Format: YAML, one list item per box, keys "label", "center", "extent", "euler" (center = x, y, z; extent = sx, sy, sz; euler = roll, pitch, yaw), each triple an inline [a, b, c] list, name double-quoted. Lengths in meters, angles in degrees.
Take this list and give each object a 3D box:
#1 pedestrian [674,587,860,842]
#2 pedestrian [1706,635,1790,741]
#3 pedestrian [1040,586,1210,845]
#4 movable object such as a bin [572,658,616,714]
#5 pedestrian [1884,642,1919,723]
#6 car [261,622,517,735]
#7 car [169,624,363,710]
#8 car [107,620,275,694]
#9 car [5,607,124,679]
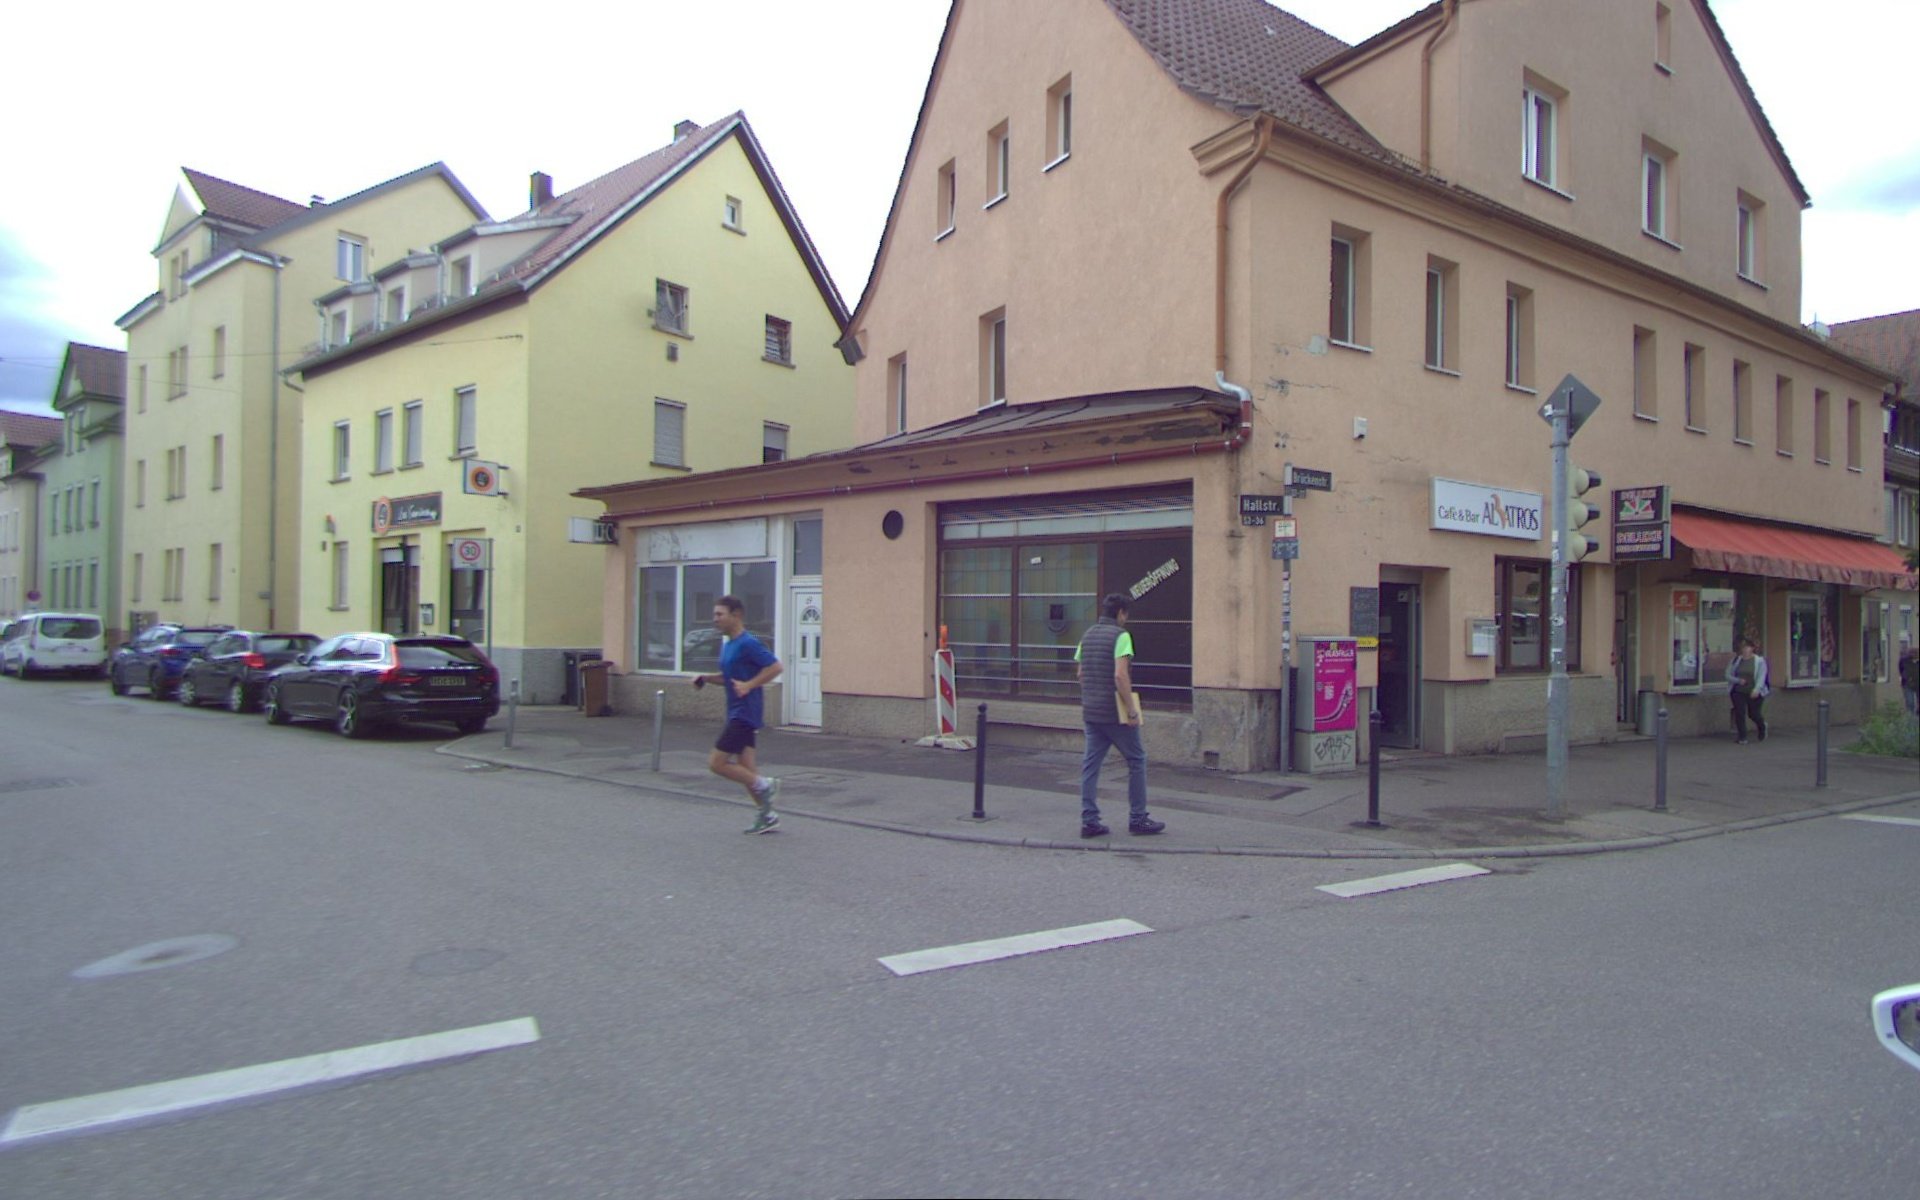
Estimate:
- label: "pedestrian"
  center: [-1.438, 0.798, 7.499]
  extent: [1.144, 1.741, 0.734]
  euler: [2, 0, -33]
- label: "pedestrian"
  center: [12.197, 1.335, 15.553]
  extent: [0.972, 1.555, 0.734]
  euler: [2, 0, -32]
- label: "pedestrian"
  center: [1.216, 0.805, 7.450]
  extent: [0.971, 1.777, 0.735]
  euler: [2, 0, -30]
- label: "movable object such as a bin"
  center: [-6.150, 1.434, 16.872]
  extent: [0.562, 0.890, 0.723]
  euler: [2, -2, -29]
- label: "pedestrian"
  center: [19.761, 1.705, 20.876]
  extent: [0.720, 1.650, 0.756]
  euler: [0, -1, 35]
- label: "car"
  center: [-8.770, 1.092, 15.301]
  extent: [4.319, 1.462, 1.904]
  euler: [-1, -2, 38]
- label: "car"
  center: [-13.263, 1.206, 19.161]
  extent: [3.625, 1.462, 1.906]
  euler: [-1, -2, 35]
- label: "car"
  center: [-16.758, 1.183, 21.868]
  extent: [3.615, 1.462, 1.906]
  euler: [-1, -2, 35]
- label: "car"
  center: [-25.552, 1.196, 28.634]
  extent: [3.616, 1.904, 1.810]
  euler: [-1, -2, 37]
